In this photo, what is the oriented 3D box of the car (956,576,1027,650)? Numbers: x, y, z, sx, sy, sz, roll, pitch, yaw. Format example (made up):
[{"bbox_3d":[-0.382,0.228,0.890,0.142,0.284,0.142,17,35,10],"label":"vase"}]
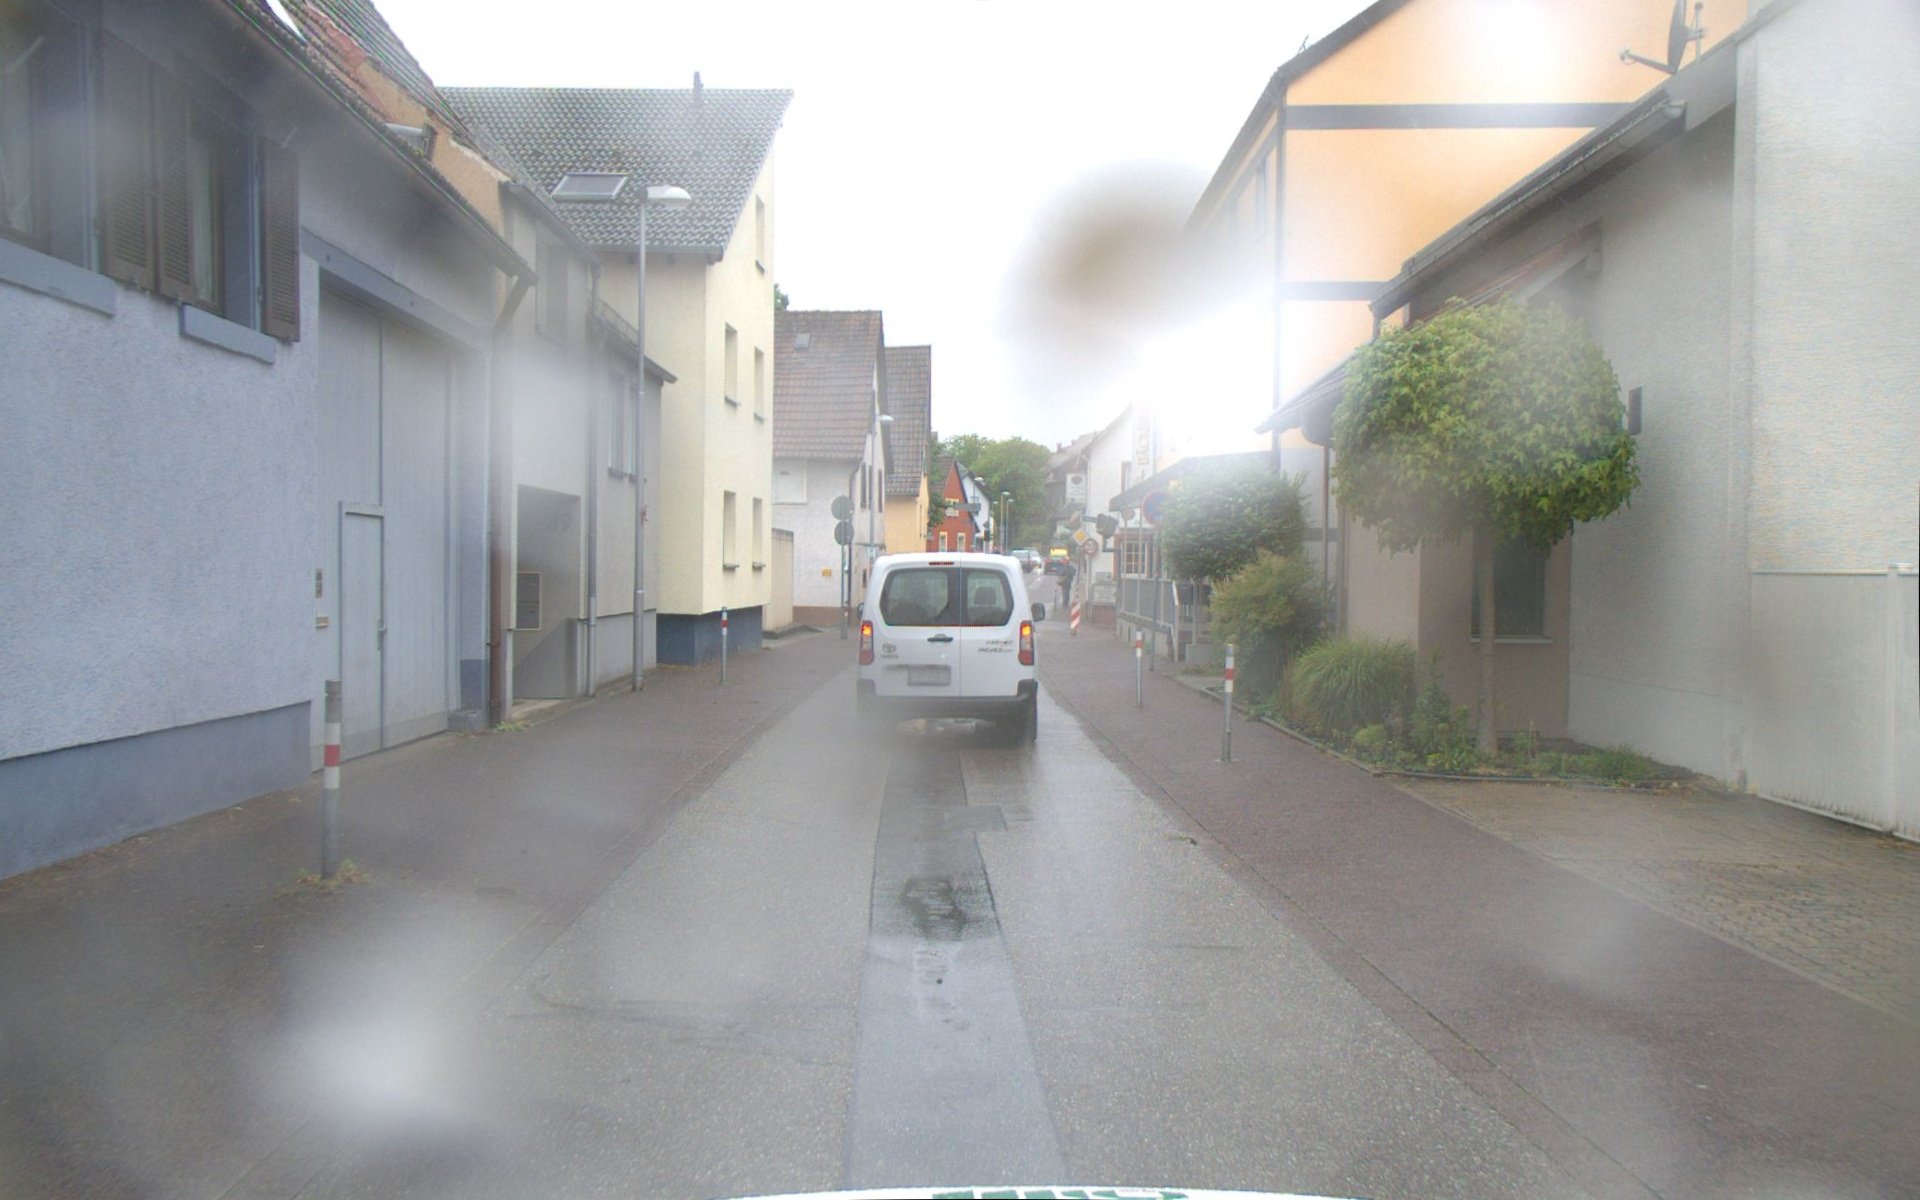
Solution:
[{"bbox_3d":[0.965,0.354,48.813,1.952,2.049,4.002,-1,0,3],"label":"car"}]

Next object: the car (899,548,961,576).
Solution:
[{"bbox_3d":[-1.920,-2.424,105.059,3.376,1.586,1.986,-4,3,-24],"label":"car"}]

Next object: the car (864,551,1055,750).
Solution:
[{"bbox_3d":[-0.026,0.453,17.284,1.738,1.811,3.999,-1,0,-1],"label":"car"}]

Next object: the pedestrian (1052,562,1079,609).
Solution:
[{"bbox_3d":[4.319,-0.598,67.670,1.029,1.926,0.877,-1,0,-1],"label":"pedestrian"}]

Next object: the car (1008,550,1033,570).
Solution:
[{"bbox_3d":[4.733,-3.110,129.283,1.555,1.466,3.769,2,0,7],"label":"car"}]
